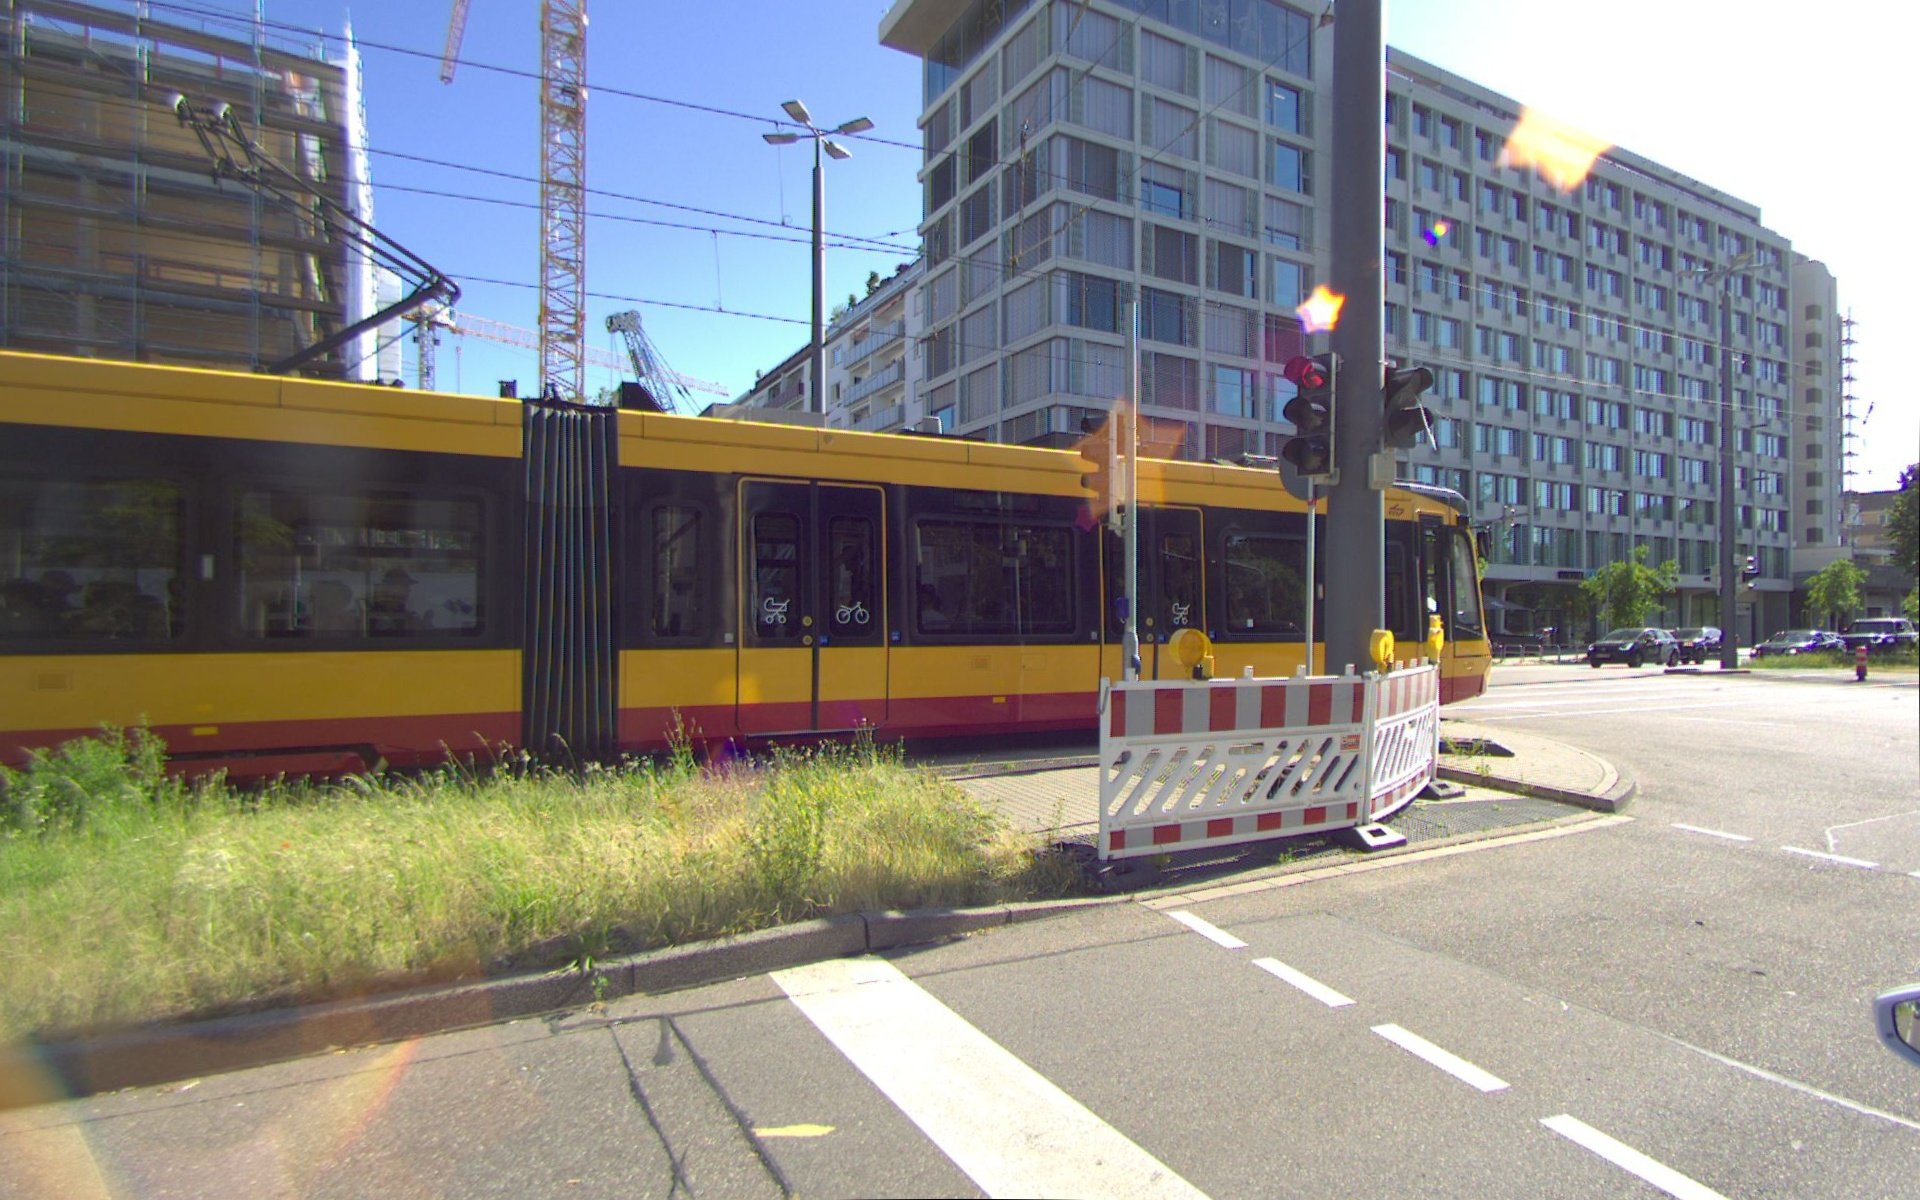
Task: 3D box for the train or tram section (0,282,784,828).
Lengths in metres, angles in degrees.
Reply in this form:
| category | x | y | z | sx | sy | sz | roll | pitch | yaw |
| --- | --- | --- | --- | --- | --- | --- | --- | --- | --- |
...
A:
| category | x | y | z | sx | sy | sz | roll | pitch | yaw |
| --- | --- | --- | --- | --- | --- | --- | --- | --- | --- |
| train or tram section | -7.063 | -0.307 | 7.701 | 11.170 | 3.718 | 1.986 | 1 | 0 | -27 |

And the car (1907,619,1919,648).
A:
| category | x | y | z | sx | sy | sz | roll | pitch | yaw |
| --- | --- | --- | --- | --- | --- | --- | --- | --- | --- |
| car | 54.364 | 1.862 | 55.388 | 3.950 | 1.573 | 1.985 | 1 | 0 | -28 |

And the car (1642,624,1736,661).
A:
| category | x | y | z | sx | sy | sz | roll | pitch | yaw |
| --- | --- | --- | --- | --- | --- | --- | --- | --- | --- |
| car | 33.485 | 1.907 | 46.108 | 3.950 | 1.573 | 1.985 | 1 | 0 | -28 |

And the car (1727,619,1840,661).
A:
| category | x | y | z | sx | sy | sz | roll | pitch | yaw |
| --- | --- | --- | --- | --- | --- | --- | --- | --- | --- |
| car | 32.505 | 1.553 | 39.646 | 3.947 | 1.573 | 1.987 | 1 | 0 | -26 |

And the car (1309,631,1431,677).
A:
| category | x | y | z | sx | sy | sz | roll | pitch | yaw |
| --- | --- | --- | --- | --- | --- | --- | --- | --- | --- |
| car | 15.153 | 1.961 | 37.143 | 3.943 | 1.573 | 1.989 | 1 | 0 | -23 |

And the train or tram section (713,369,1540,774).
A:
| category | x | y | z | sx | sy | sz | roll | pitch | yaw |
| --- | --- | --- | --- | --- | --- | --- | --- | --- | --- |
| train or tram section | 2.858 | -0.195 | 12.797 | 11.534 | 3.718 | 1.986 | 1 | 0 | -28 |

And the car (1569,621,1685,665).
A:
| category | x | y | z | sx | sy | sz | roll | pitch | yaw |
| --- | --- | --- | --- | --- | --- | --- | --- | --- | --- |
| car | 25.851 | 1.644 | 38.960 | 3.945 | 1.573 | 1.988 | 1 | 0 | -25 |

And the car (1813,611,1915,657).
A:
| category | x | y | z | sx | sy | sz | roll | pitch | yaw |
| --- | --- | --- | --- | --- | --- | --- | --- | --- | --- |
| car | 38.884 | 1.427 | 43.190 | 4.233 | 1.843 | 1.985 | 1 | 0 | -29 |
